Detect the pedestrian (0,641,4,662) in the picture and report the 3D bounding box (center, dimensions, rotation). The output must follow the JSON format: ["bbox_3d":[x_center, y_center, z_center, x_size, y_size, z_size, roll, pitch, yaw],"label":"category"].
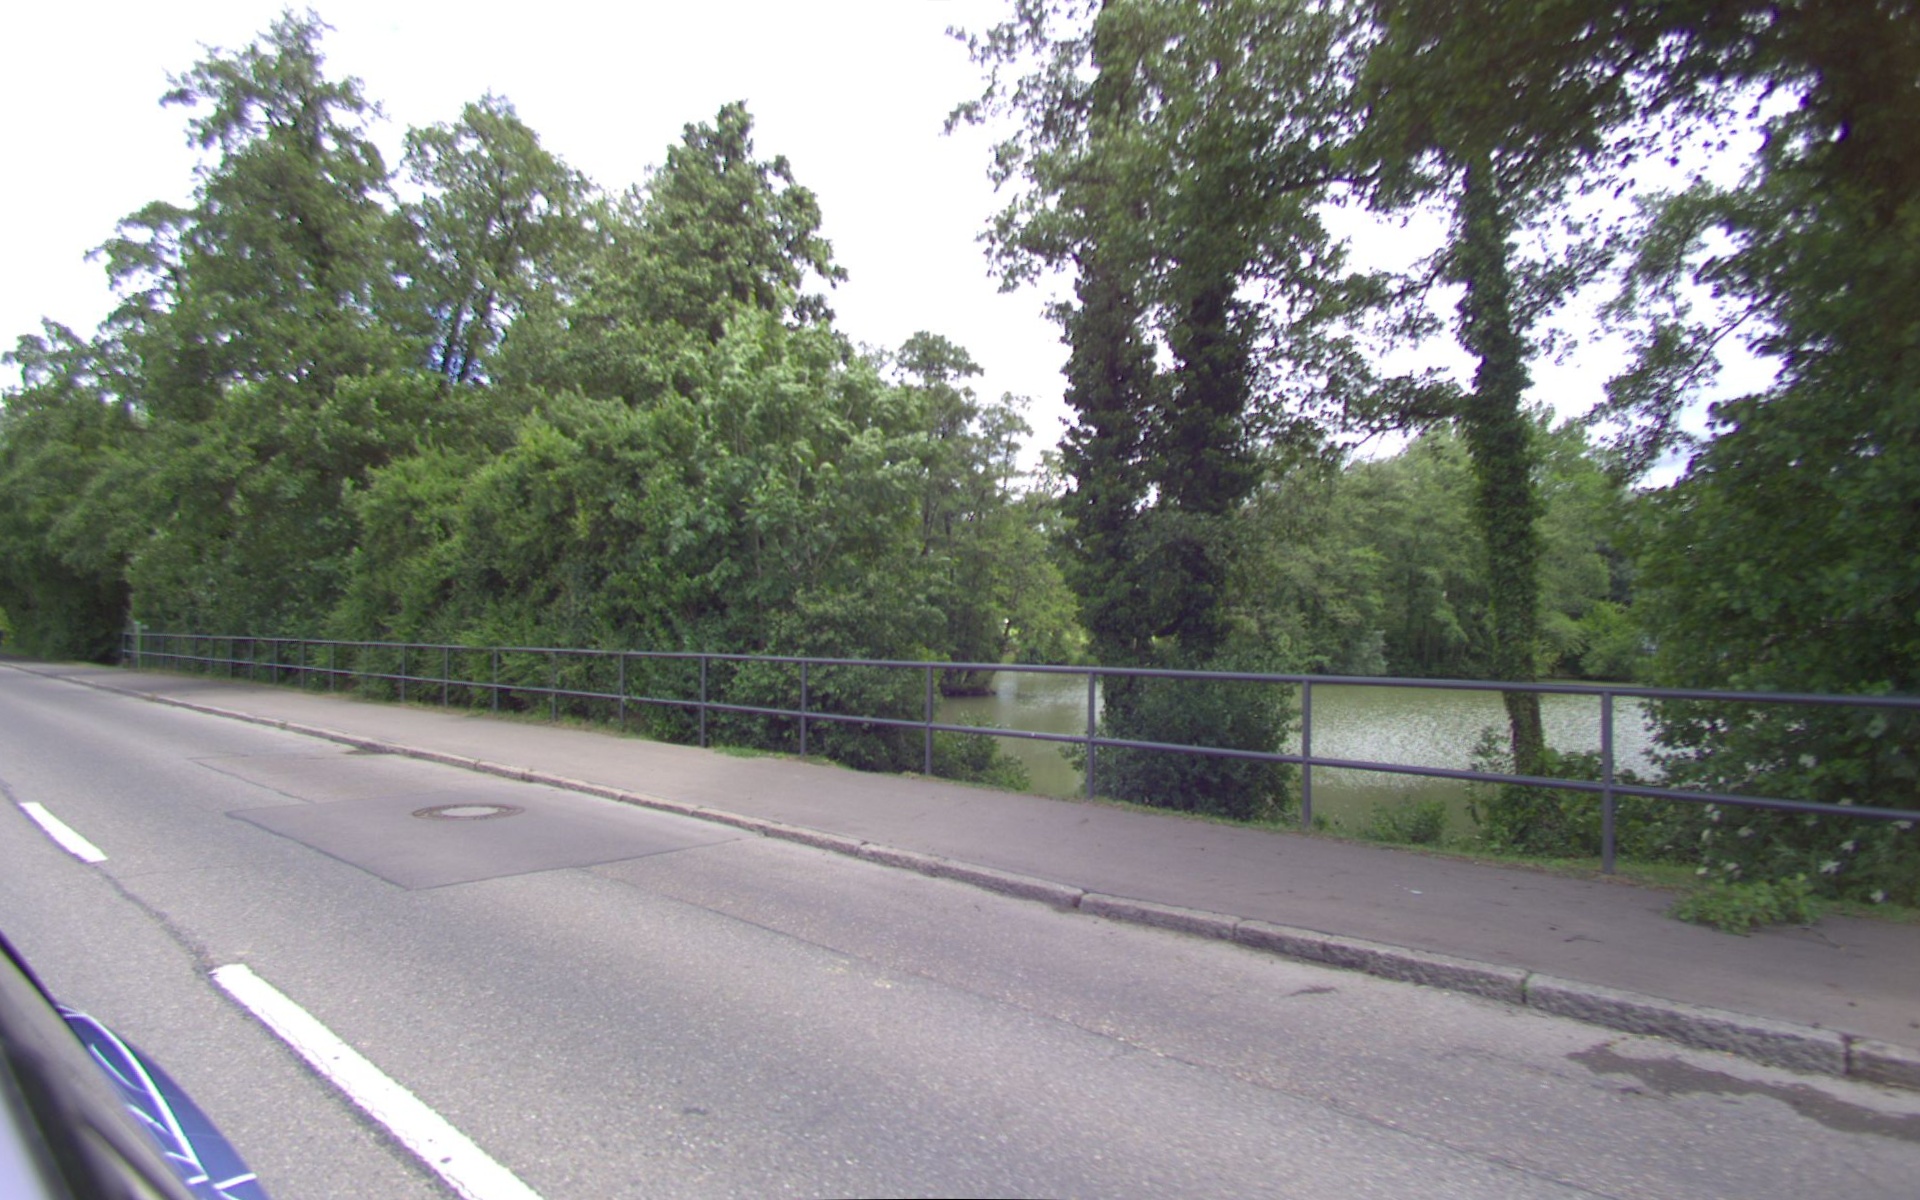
[{"bbox_3d":[-71.361,3.821,74.947,0.695,1.606,0.708,2,-4,-38],"label":"pedestrian"}]
